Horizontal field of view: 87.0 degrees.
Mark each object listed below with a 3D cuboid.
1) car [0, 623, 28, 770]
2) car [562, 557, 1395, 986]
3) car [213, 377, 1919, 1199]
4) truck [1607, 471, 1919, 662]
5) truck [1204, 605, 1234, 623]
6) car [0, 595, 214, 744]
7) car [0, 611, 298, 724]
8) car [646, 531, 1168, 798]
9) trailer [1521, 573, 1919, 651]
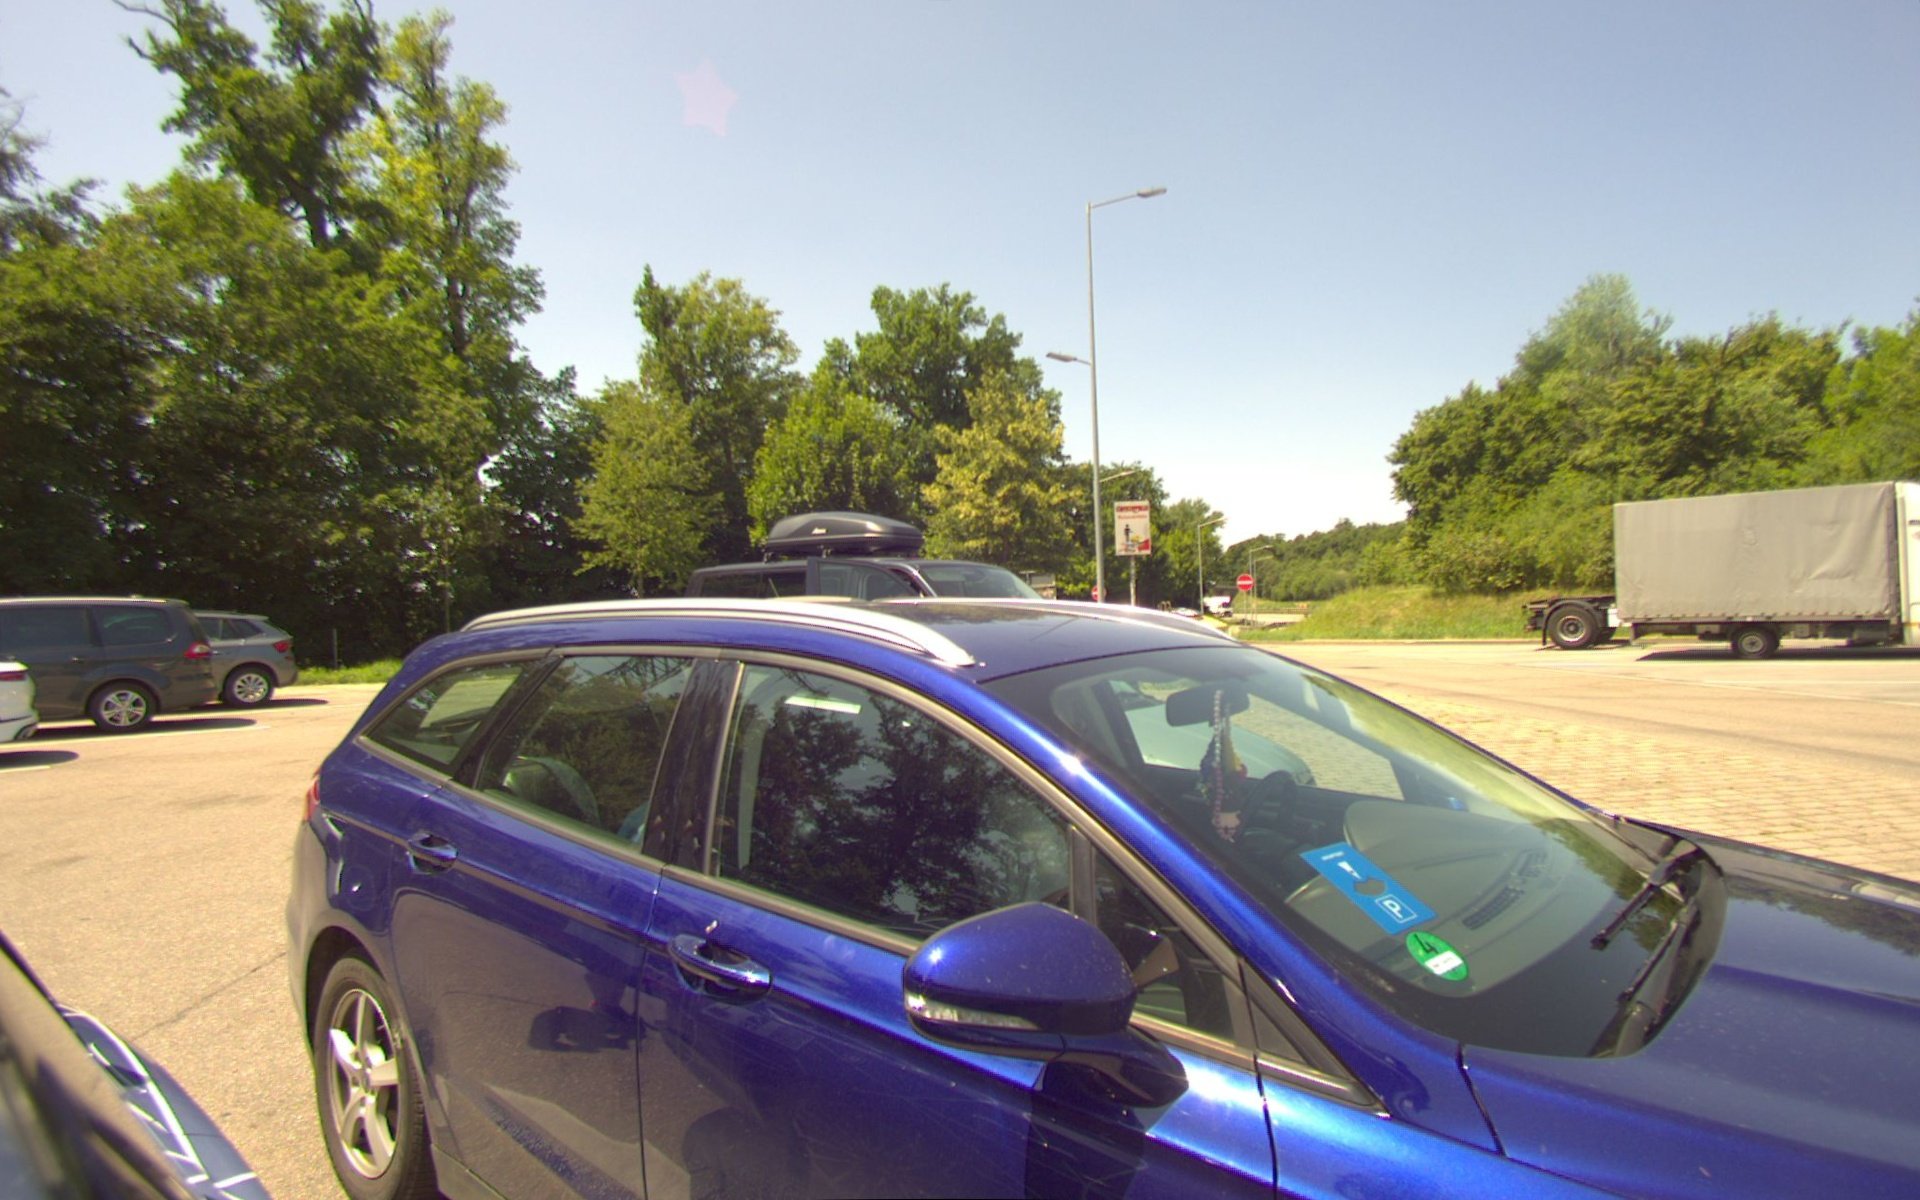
[{"bbox_3d":[-10.995,0.936,9.149,3.767,1.396,1.722,0,-1,-43],"label":"car"},{"bbox_3d":[-0.215,0.676,5.775,4.637,1.545,1.720,-2,0,39],"label":"car"},{"bbox_3d":[0.247,0.638,2.063,4.637,1.493,1.720,-2,-1,39],"label":"car"},{"bbox_3d":[16.709,-0.598,18.921,7.337,3.235,2.502,-4,-1,41],"label":"truck"},{"bbox_3d":[46.894,2.456,183.750,2.442,3.102,8.036,-1,0,-7],"label":"truck"},{"bbox_3d":[-11.654,0.825,12.613,3.762,1.737,1.724,0,-1,-38],"label":"car"},{"bbox_3d":[-12.592,0.959,15.694,3.762,1.551,1.724,0,-1,-38],"label":"car"},{"bbox_3d":[-0.658,0.514,9.349,4.635,1.884,1.937,-2,0,37],"label":"car"},{"bbox_3d":[17.638,0.314,23.143,8.088,1.385,2.200,-4,-1,41],"label":"trailer"}]
